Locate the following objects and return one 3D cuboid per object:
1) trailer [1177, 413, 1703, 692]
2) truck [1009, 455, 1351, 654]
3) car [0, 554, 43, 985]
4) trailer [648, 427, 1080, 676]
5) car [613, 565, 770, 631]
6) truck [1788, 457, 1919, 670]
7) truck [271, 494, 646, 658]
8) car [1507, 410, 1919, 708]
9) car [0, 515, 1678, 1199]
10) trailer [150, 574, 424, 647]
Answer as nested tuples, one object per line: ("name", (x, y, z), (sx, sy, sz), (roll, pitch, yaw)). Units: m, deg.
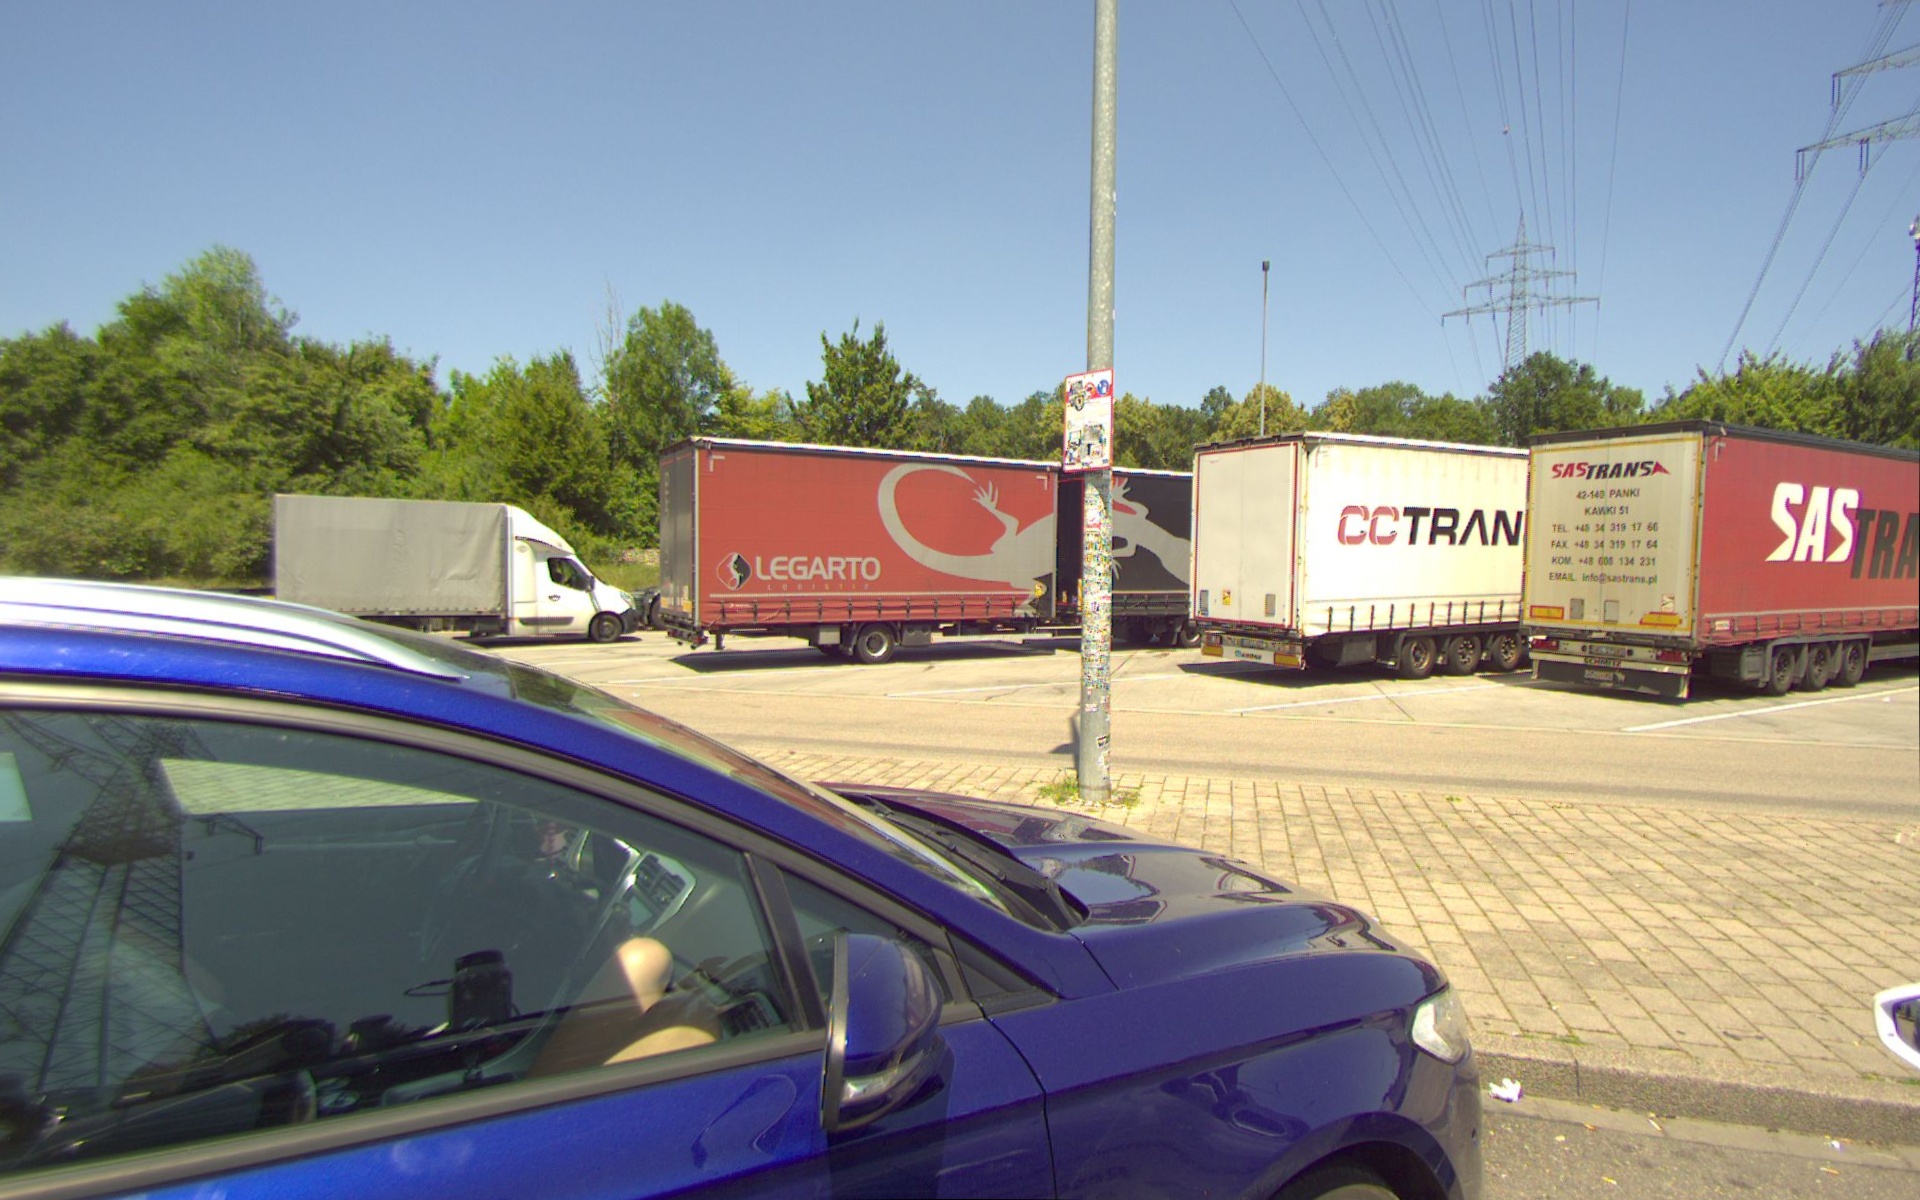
("trailer", (10.106, -0.882, 20.070), (12.786, 4.325, 2.800), (-1, 2, -31))
("truck", (5.598, -1.079, 24.831), (8.683, 4.248, 2.800), (-1, 2, -30))
("car", (-4.618, 0.556, 2.120), (3.700, 1.432, 1.595), (0, 0, -32))
("trailer", (-1.749, -0.930, 20.508), (8.389, 4.248, 2.800), (-1, 2, -30))
("car", (-7.610, -0.050, 28.520), (3.953, 1.773, 1.902), (0, 0, -30))
("truck", (21.137, -0.772, 21.868), (6.163, 4.169, 2.683), (-1, 3, -30))
("truck", (-11.120, -0.588, 22.878), (7.219, 3.277, 2.308), (-2, 3, -29))
("car", (15.211, -0.692, 18.457), (12.777, 4.169, 2.683), (-1, 3, -30))
("car", (-0.991, 0.670, 1.468), (4.380, 1.464, 1.771), (0, 0, -32))
("trailer", (-15.955, 0.238, 24.184), (5.332, 1.617, 1.585), (0, 0, -30))
